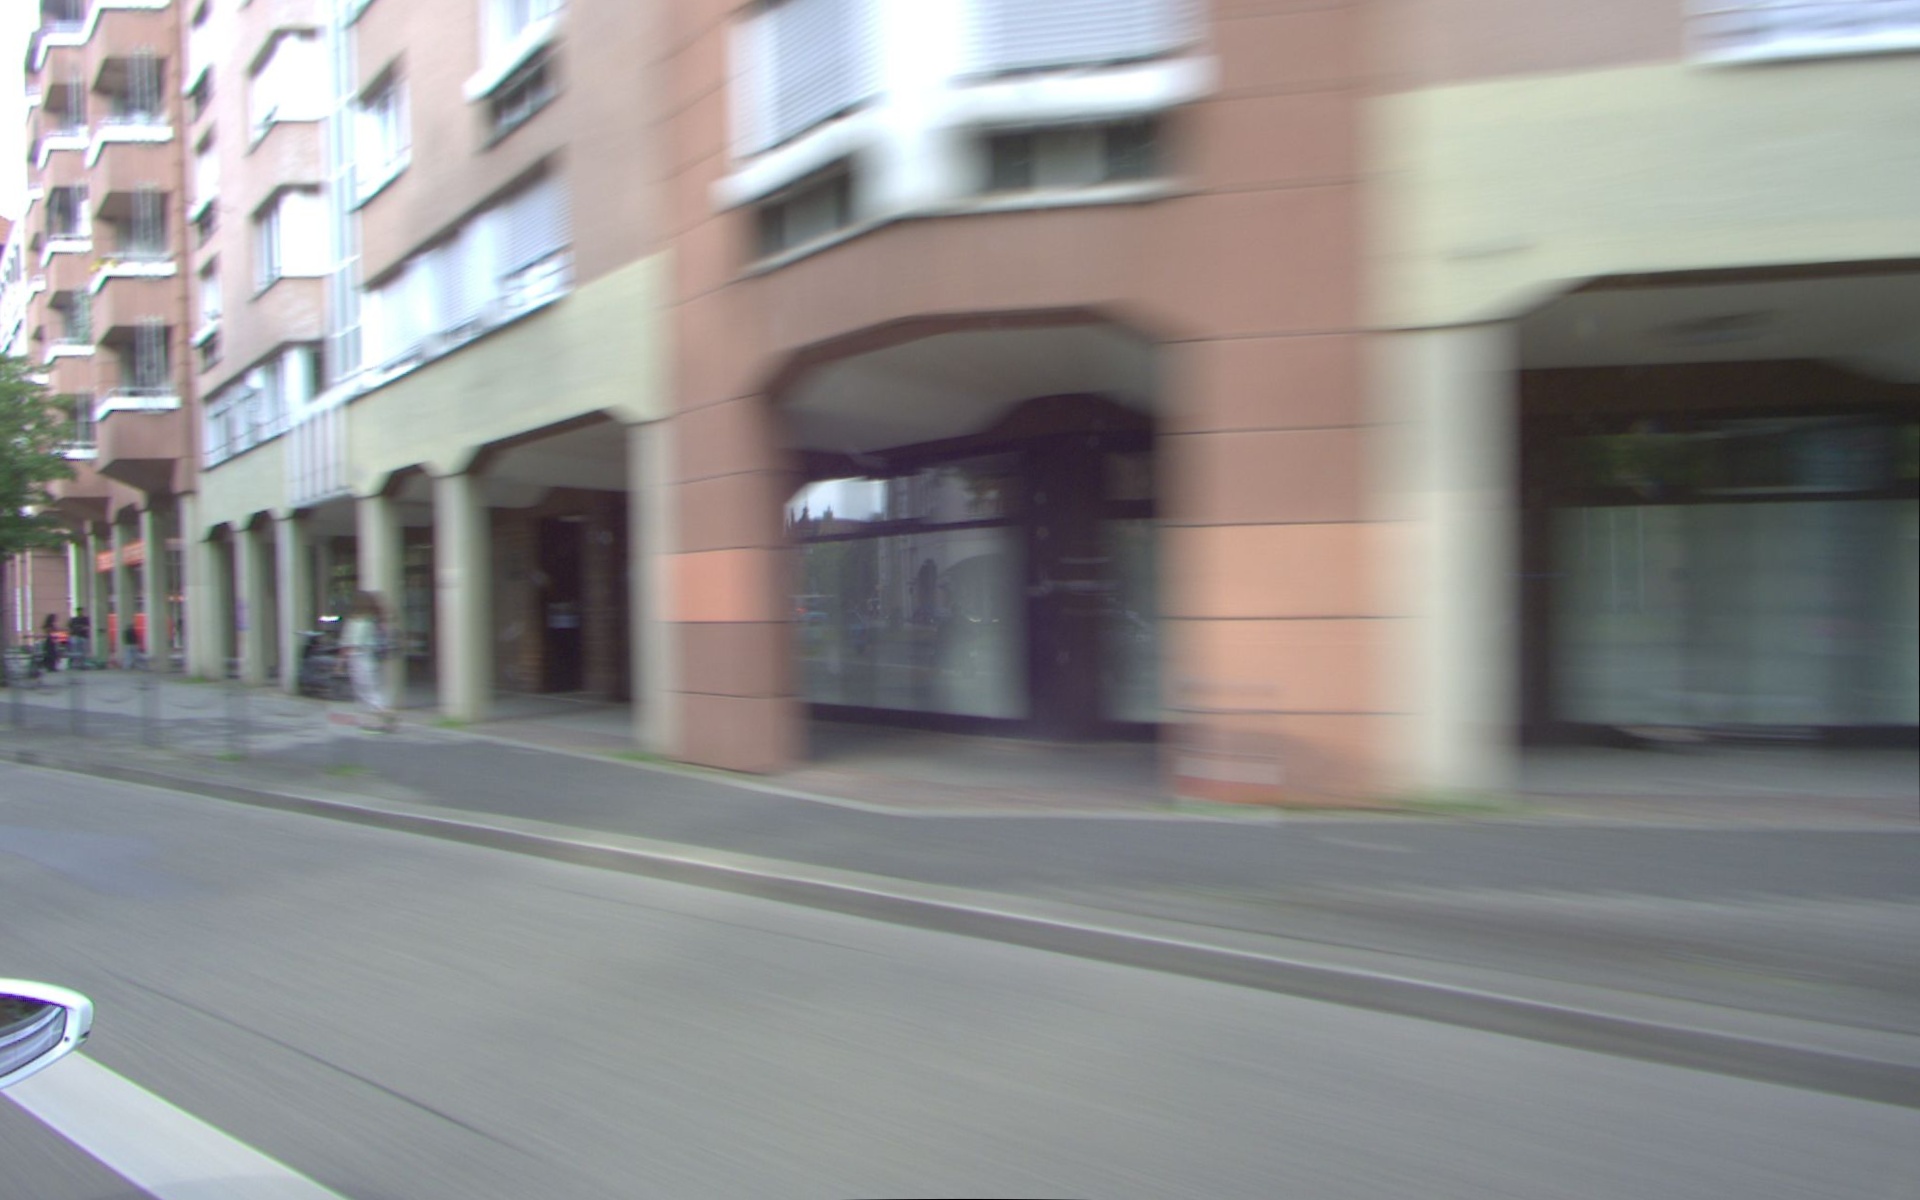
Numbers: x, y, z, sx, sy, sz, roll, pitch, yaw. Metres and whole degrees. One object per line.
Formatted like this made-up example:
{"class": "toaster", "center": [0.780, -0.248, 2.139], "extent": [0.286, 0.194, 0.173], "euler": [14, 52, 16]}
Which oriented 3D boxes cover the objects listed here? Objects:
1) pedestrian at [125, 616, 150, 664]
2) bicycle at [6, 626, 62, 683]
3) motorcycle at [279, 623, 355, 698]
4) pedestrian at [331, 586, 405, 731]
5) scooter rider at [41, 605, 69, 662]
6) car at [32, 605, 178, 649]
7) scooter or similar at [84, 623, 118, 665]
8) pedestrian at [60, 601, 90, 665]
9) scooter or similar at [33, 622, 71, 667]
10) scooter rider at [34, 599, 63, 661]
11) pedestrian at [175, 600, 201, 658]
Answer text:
{"class": "pedestrian", "center": [-23.546, 1.134, 28.660], "extent": [0.483, 1.341, 0.480], "euler": [-1, 0, -45]}
{"class": "bicycle", "center": [-19.579, 1.135, 21.159], "extent": [1.782, 1.132, 0.610], "euler": [-1, 0, 39]}
{"class": "motorcycle", "center": [-11.039, 1.006, 17.175], "extent": [1.883, 1.171, 0.613], "euler": [0, 2, 43]}
{"class": "pedestrian", "center": [-7.141, 0.682, 12.070], "extent": [0.816, 1.672, 0.540], "euler": [0, 1, 42]}
{"class": "scooter rider", "center": [-25.269, 0.929, 27.957], "extent": [0.557, 1.578, 0.459], "euler": [0, 0, 35]}
{"class": "car", "center": [-38.289, 1.195, 44.934], "extent": [1.980, 1.849, 4.799], "euler": [-3, -2, 43]}
{"class": "scooter or similar", "center": [-25.213, 1.284, 29.380], "extent": [1.390, 1.185, 0.551], "euler": [-1, 0, 41]}
{"class": "pedestrian", "center": [-25.392, 0.943, 28.736], "extent": [0.650, 1.823, 0.548], "euler": [0, 1, 42]}
{"class": "scooter or similar", "center": [-25.522, 1.235, 28.142], "extent": [1.312, 1.222, 0.472], "euler": [-1, 0, 34]}
{"class": "scooter rider", "center": [-25.747, 0.841, 28.291], "extent": [0.545, 1.743, 0.461], "euler": [0, 0, 33]}
{"class": "pedestrian", "center": [-24.655, 0.909, 31.991], "extent": [0.545, 1.823, 0.654], "euler": [-1, 0, -28]}
